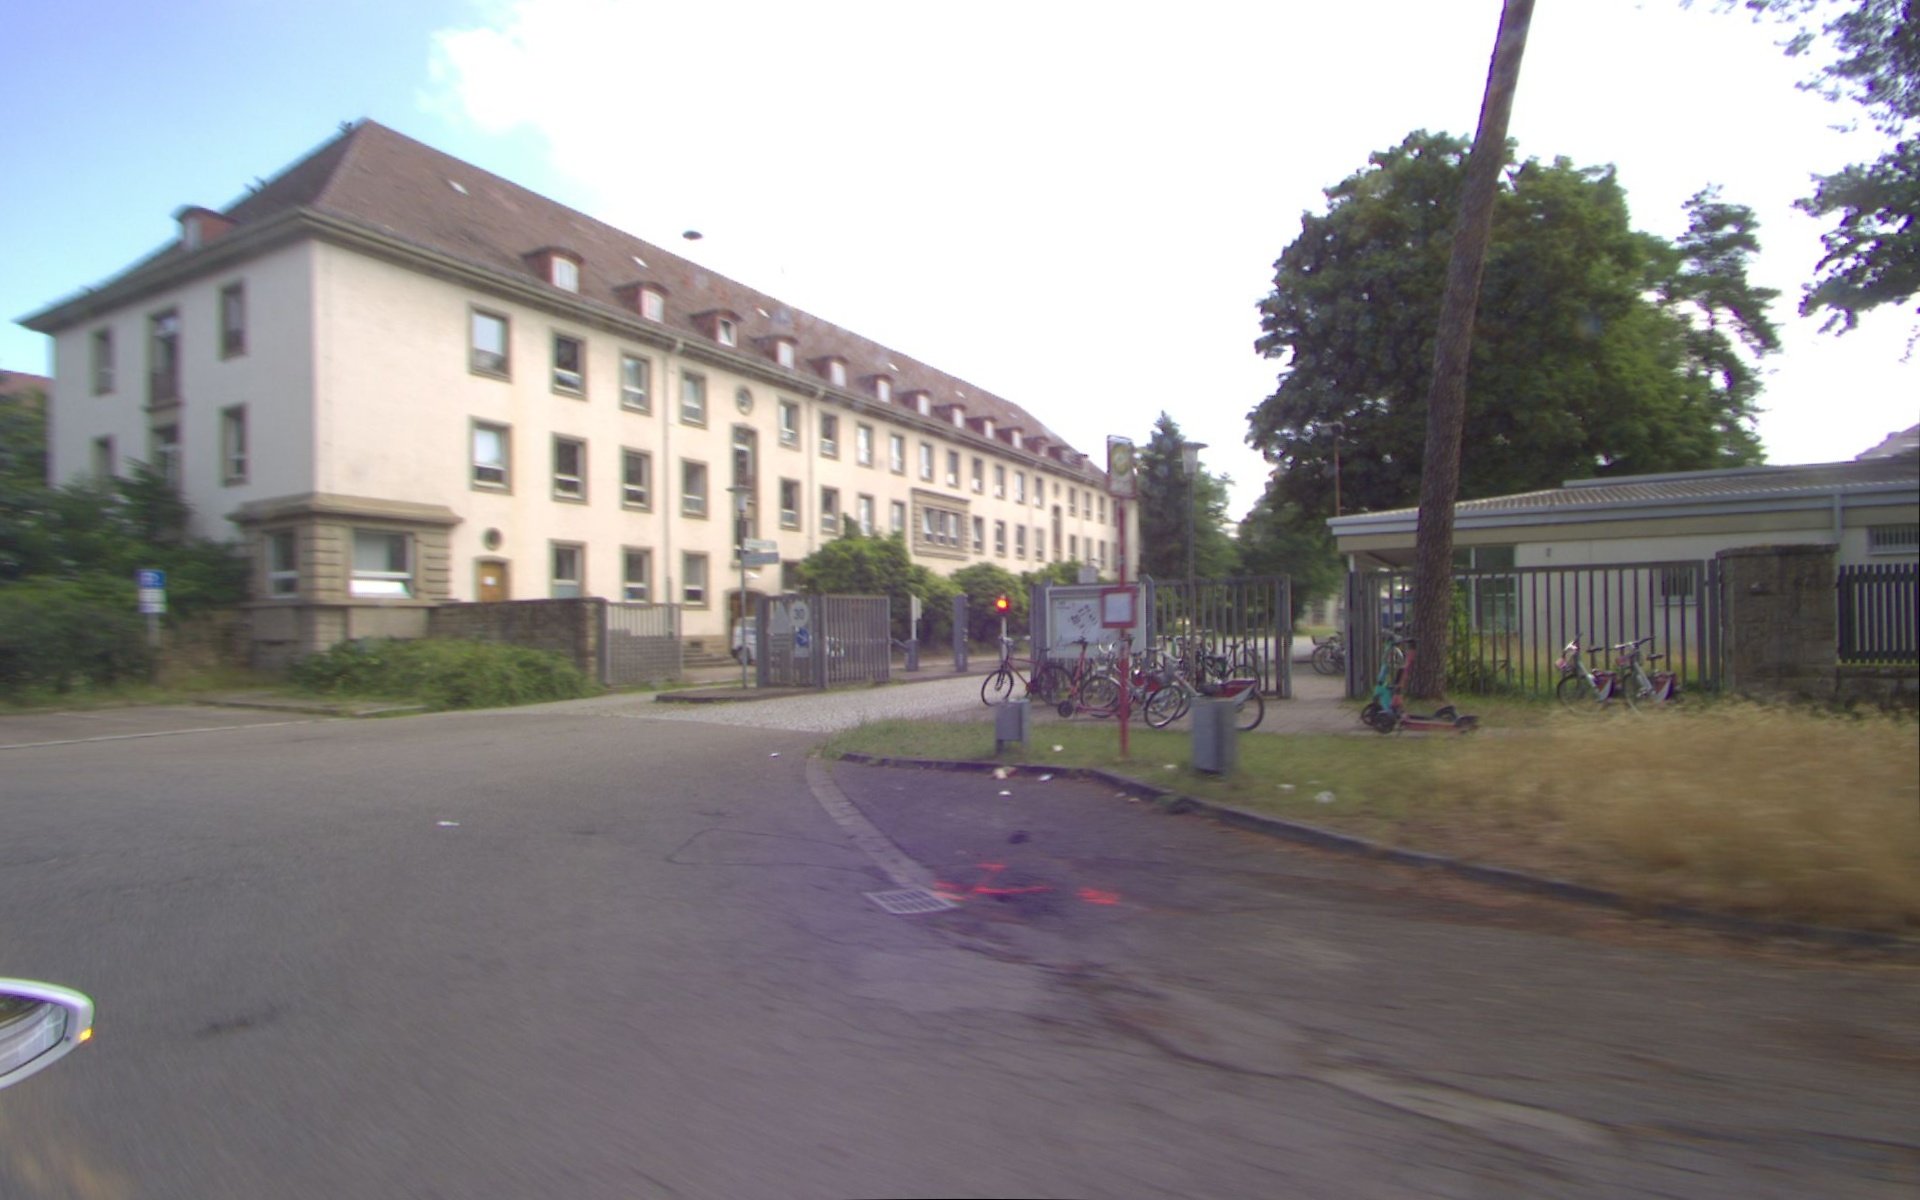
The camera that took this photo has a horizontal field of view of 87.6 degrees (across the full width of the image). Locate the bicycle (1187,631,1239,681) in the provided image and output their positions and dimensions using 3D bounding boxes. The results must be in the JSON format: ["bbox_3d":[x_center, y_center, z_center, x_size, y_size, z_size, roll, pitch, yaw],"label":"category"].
[{"bbox_3d":[5.734,1.258,22.644,0.721,1.070,1.588,-2,-2,29],"label":"bicycle"}]

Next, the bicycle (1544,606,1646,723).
[{"bbox_3d":[8.370,0.804,13.273,0.578,1.436,1.796,-1,0,14],"label":"bicycle"}]

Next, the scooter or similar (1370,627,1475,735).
[{"bbox_3d":[5.516,0.968,11.983,1.073,1.243,0.437,-3,-3,25],"label":"scooter or similar"}]

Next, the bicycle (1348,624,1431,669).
[{"bbox_3d":[11.583,1.276,27.062,1.986,1.185,0.401,-1,-3,18],"label":"bicycle"}]

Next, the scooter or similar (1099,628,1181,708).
[{"bbox_3d":[2.956,1.114,16.514,1.268,1.261,0.384,-3,-1,37],"label":"scooter or similar"}]

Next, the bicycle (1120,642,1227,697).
[{"bbox_3d":[4.039,1.312,19.018,1.924,0.980,0.455,-2,-1,31],"label":"bicycle"}]

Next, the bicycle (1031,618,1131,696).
[{"bbox_3d":[2.296,1.091,19.181,1.882,1.435,0.513,-3,-3,35],"label":"bicycle"}]

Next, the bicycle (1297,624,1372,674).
[{"bbox_3d":[9.211,1.210,24.635,1.621,1.185,0.436,-2,-3,2],"label":"bicycle"}]

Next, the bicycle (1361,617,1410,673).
[{"bbox_3d":[9.262,0.990,21.755,0.431,1.185,1.711,-3,-4,41],"label":"bicycle"}]

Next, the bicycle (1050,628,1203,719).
[{"bbox_3d":[2.466,1.074,14.900,2.139,1.255,0.634,0,-4,26],"label":"bicycle"}]

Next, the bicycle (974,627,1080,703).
[{"bbox_3d":[1.181,1.151,17.695,1.713,1.293,0.670,-3,-1,26],"label":"bicycle"}]

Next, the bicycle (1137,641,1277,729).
[{"bbox_3d":[3.270,1.109,13.265,1.657,1.098,0.738,-2,-3,28],"label":"bicycle"}]

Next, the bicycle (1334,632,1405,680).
[{"bbox_3d":[9.669,1.321,23.644,1.623,1.133,0.436,1,-3,-16],"label":"bicycle"}]

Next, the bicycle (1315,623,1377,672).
[{"bbox_3d":[9.665,1.205,25.058,1.375,1.185,0.434,-2,-3,30],"label":"bicycle"}]

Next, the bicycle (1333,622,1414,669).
[{"bbox_3d":[10.716,1.192,25.979,1.923,1.185,0.485,-2,-3,24],"label":"bicycle"}]

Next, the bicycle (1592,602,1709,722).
[{"bbox_3d":[8.925,0.758,13.030,0.567,1.435,1.981,-1,-1,14],"label":"bicycle"}]

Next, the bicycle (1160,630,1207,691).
[{"bbox_3d":[4.767,1.267,21.310,0.495,1.186,1.708,-2,-1,29],"label":"bicycle"}]

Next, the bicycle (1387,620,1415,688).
[{"bbox_3d":[10.248,1.281,23.265,0.430,1.088,1.602,-2,-23,29],"label":"bicycle"}]

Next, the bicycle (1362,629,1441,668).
[{"bbox_3d":[12.264,1.361,27.869,1.950,1.041,0.401,-2,-3,19],"label":"bicycle"}]

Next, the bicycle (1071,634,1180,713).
[{"bbox_3d":[2.627,1.160,15.971,1.593,1.177,0.617,-3,-1,41],"label":"bicycle"}]

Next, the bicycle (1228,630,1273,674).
[{"bbox_3d":[7.472,1.328,25.731,0.721,1.086,1.707,-2,-2,29],"label":"bicycle"}]

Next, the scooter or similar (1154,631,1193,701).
[{"bbox_3d":[3.689,1.120,17.345,0.430,1.165,1.252,-1,-1,2],"label":"scooter or similar"}]

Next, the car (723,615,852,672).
[{"bbox_3d":[-6.346,1.545,36.729,4.378,1.775,1.852,3,1,26],"label":"car"}]
